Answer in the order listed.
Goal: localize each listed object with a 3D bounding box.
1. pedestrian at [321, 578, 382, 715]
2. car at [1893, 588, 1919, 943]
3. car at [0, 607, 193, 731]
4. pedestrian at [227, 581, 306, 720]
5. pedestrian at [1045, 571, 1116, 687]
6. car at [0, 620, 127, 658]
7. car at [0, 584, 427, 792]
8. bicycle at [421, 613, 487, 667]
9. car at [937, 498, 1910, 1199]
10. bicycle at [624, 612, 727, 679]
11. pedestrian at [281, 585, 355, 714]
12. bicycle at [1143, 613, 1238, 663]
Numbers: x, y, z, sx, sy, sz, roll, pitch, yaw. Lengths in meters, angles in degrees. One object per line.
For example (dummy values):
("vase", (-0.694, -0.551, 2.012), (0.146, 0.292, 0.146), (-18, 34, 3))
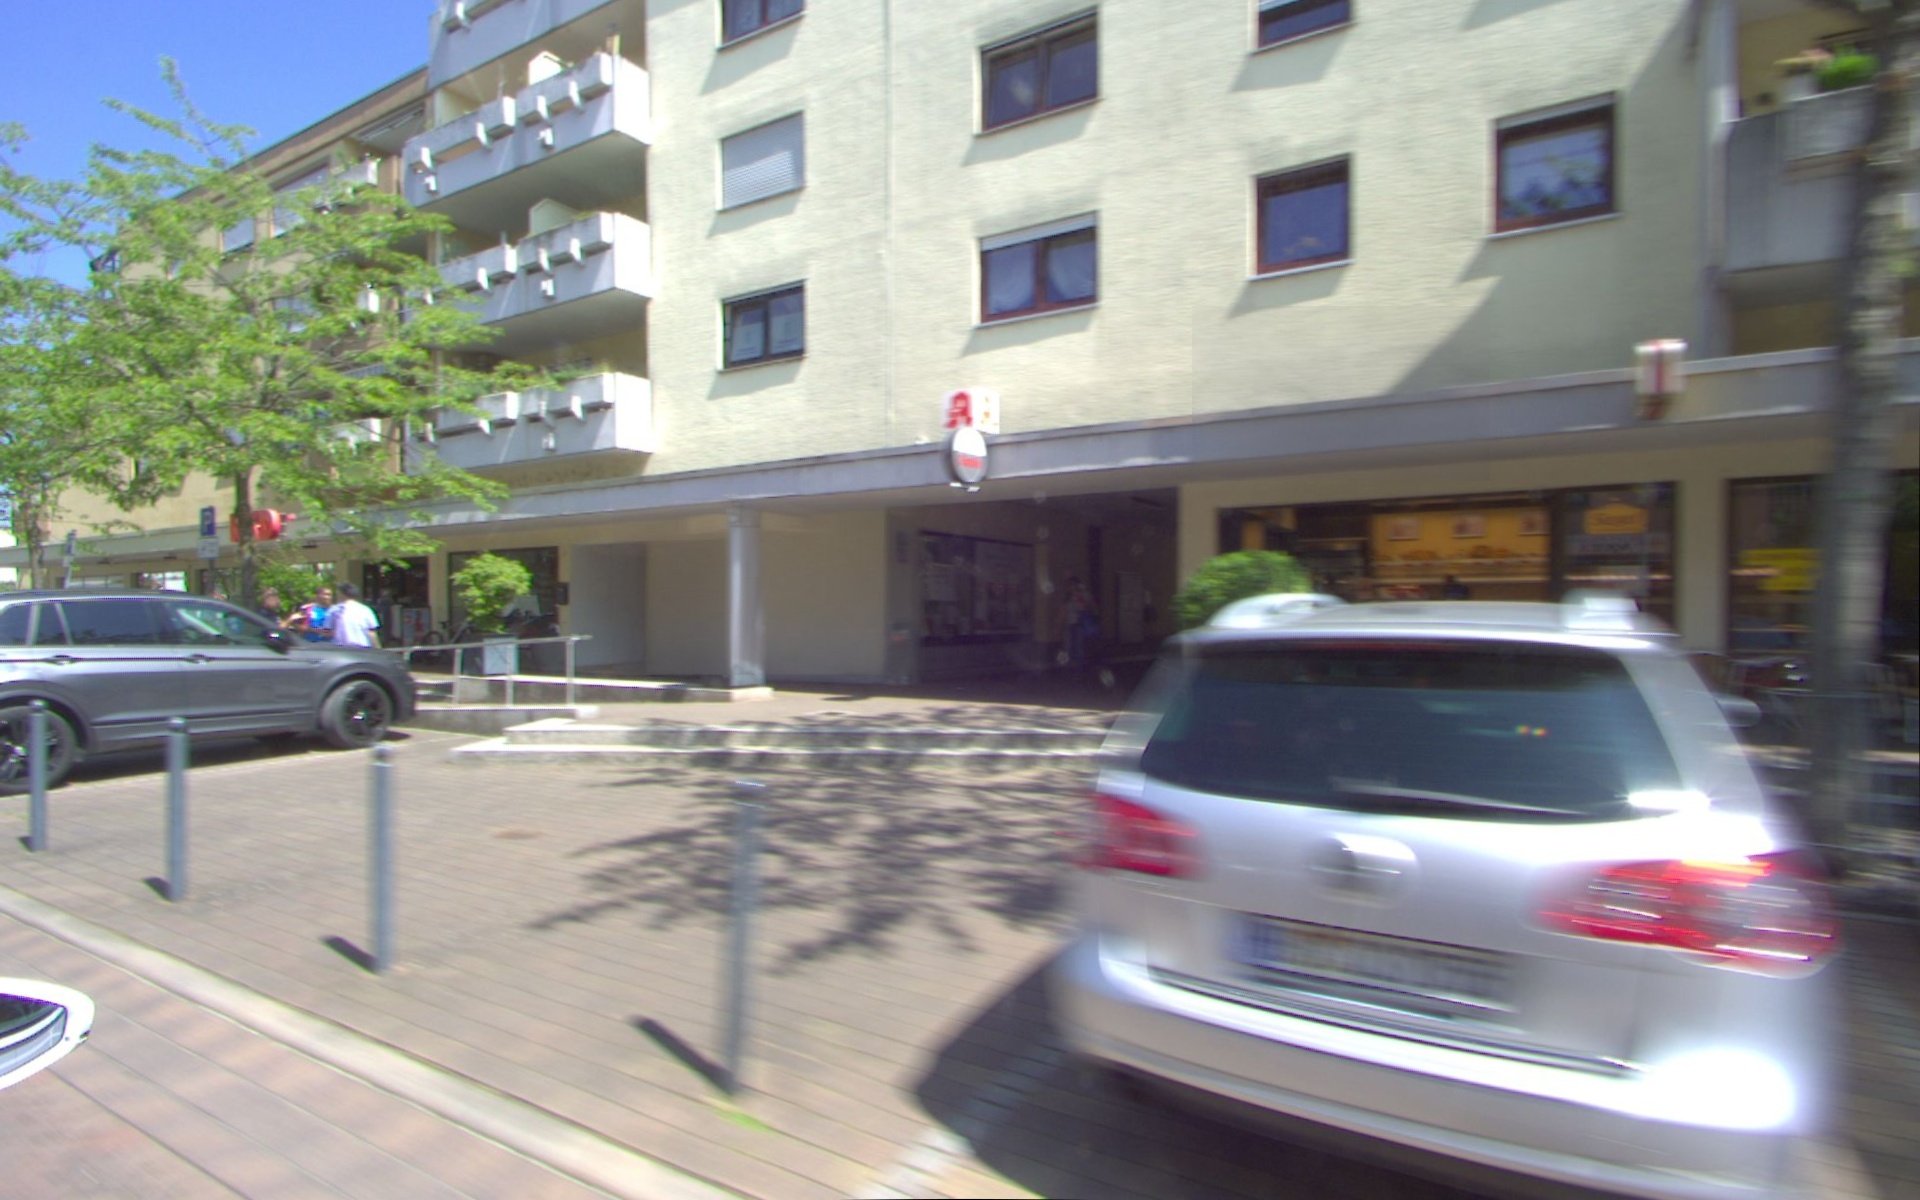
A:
("pedestrian", (-8.057, 0.613, 13.283), (0.606, 1.753, 0.646), (0, -1, -24))
("car", (3.813, 0.695, 2.386), (1.590, 1.450, 3.783), (0, 1, 32))
("car", (-12.889, 0.901, 13.170), (1.854, 1.483, 4.384), (-1, 1, 8))
("pedestrian", (-9.322, 0.668, 13.471), (0.594, 1.819, 0.627), (0, 0, 10))
("pedestrian", (1.957, 0.461, 16.255), (0.859, 1.804, 0.754), (0, 0, 39))
("car", (-36.721, 1.562, 41.075), (1.630, 1.471, 3.608), (0, 0, 31))
("car", (-7.620, 0.701, 9.523), (1.730, 1.639, 4.238), (0, 0, 30))
("bicycle", (-10.407, 0.824, 20.605), (1.289, 1.081, 0.361), (-1, -1, 15))
("car", (1.890, 0.662, 3.951), (1.781, 1.564, 4.566), (0, -1, 32))
("bicycle", (-4.882, 0.773, 17.146), (1.839, 1.095, 0.640), (-1, -2, 31))
("pedestrian", (-9.265, 0.703, 14.463), (0.675, 1.796, 0.630), (0, 0, 24))
("bicycle", (5.464, 0.887, 23.799), (2.110, 1.155, 0.653), (-1, 0, 33))
